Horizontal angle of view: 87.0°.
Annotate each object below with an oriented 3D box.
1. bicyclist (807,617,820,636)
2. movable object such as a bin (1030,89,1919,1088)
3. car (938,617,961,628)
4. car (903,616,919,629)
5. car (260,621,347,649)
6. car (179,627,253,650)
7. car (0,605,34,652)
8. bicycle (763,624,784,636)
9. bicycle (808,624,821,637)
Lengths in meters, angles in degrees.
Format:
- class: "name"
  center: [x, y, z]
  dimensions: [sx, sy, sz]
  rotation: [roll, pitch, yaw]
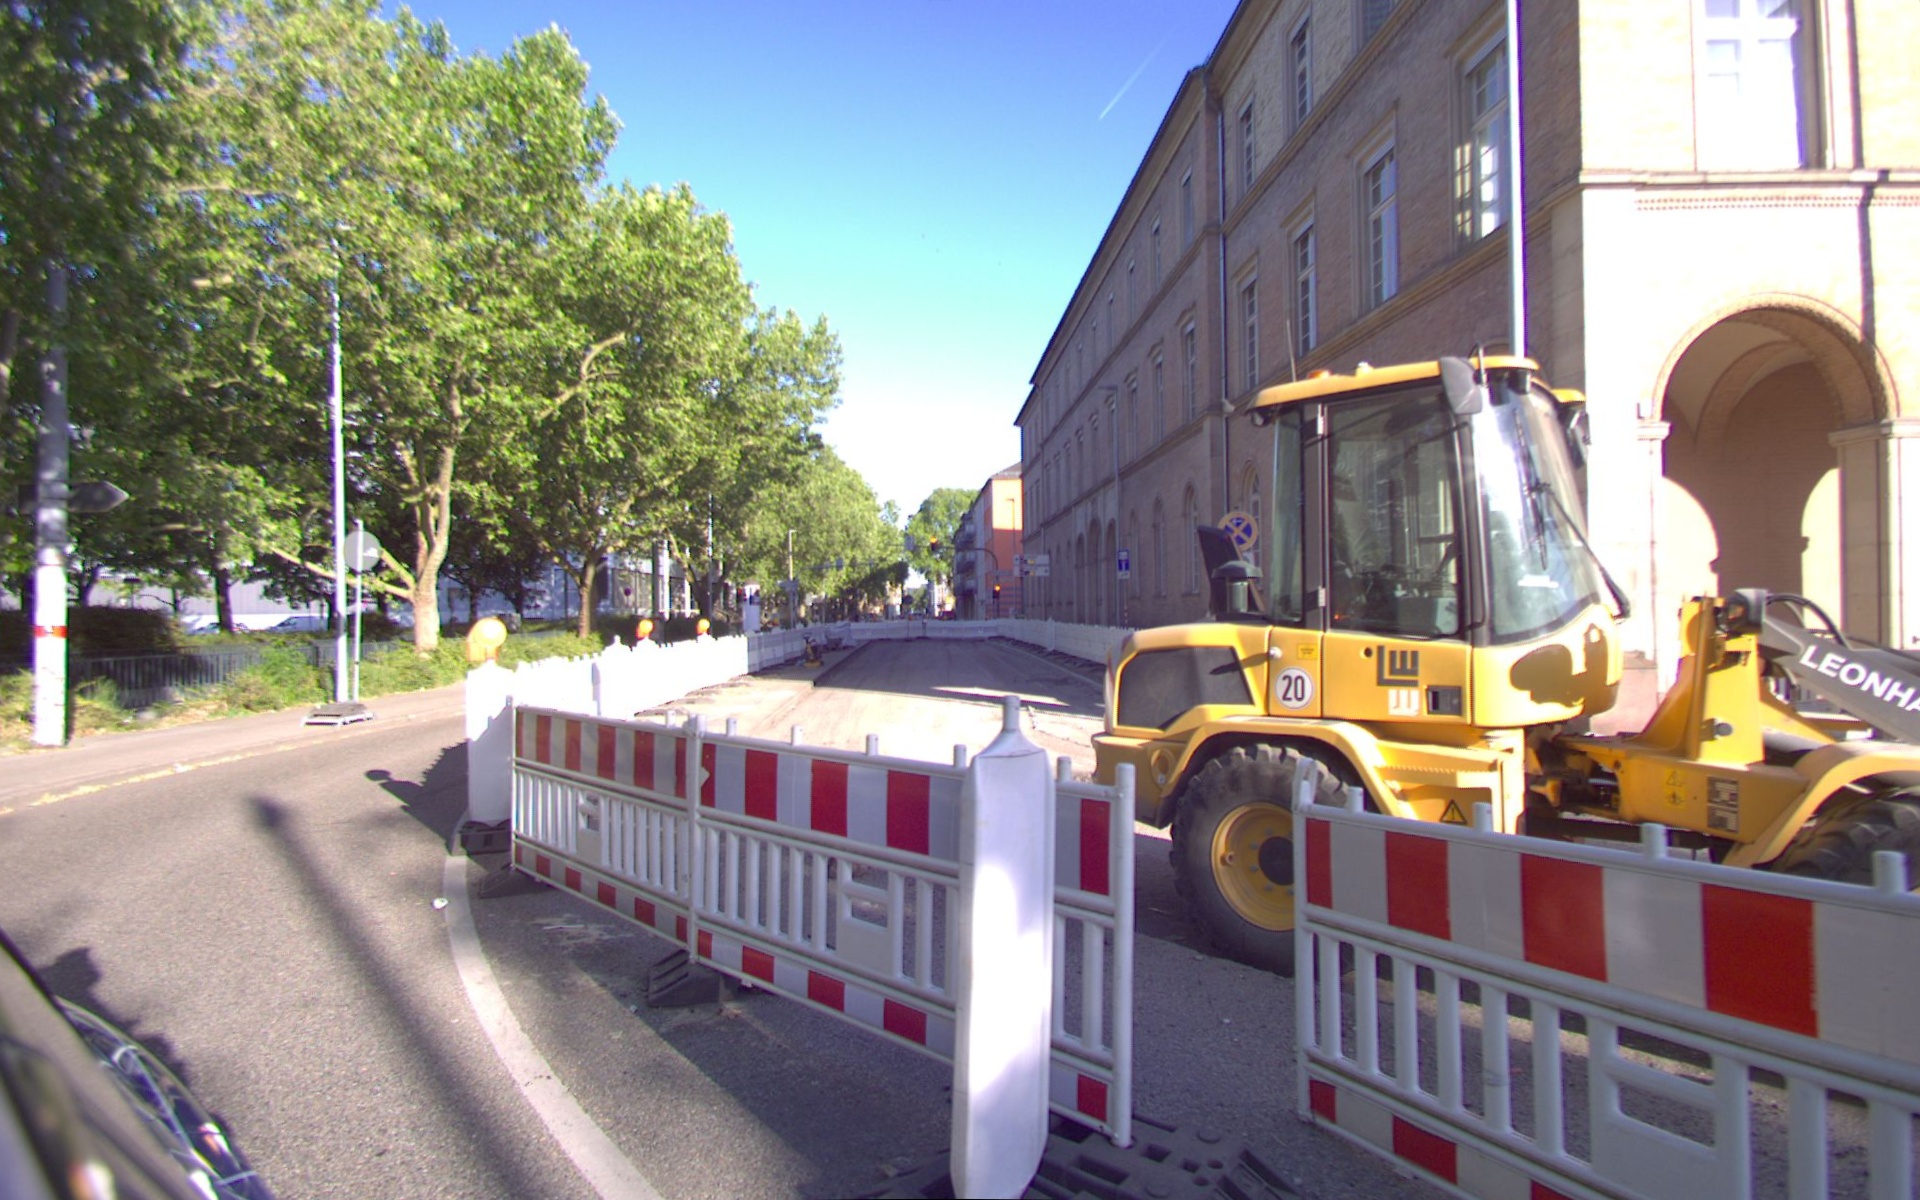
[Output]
- class: "bicyclist"
  center: [-12.713, 2.288, 87.827]
  dimensions: [0.938, 1.652, 1.006]
  rotation: [-2, -1, 5]
- class: "movable object such as a bin"
  center: [3.420, -0.021, 4.358]
  dimensions: [5.929, 3.054, 2.532]
  rotation: [-1, -2, 42]
- class: "car"
  center: [-1.816, 3.937, 176.149]
  dimensions: [3.943, 1.712, 1.834]
  rotation: [-1, -1, -1]
- class: "car"
  center: [-7.426, 3.422, 152.388]
  dimensions: [1.968, 1.830, 5.134]
  rotation: [0, 0, -8]
- class: "car"
  center: [-45.575, 2.384, 70.300]
  dimensions: [4.648, 1.842, 2.111]
  rotation: [-1, -1, -4]
- class: "car"
  center: [-51.160, 2.609, 69.622]
  dimensions: [3.792, 1.496, 1.632]
  rotation: [-1, -1, -4]
- class: "car"
  center: [-55.143, 1.623, 56.765]
  dimensions: [1.970, 2.592, 5.164]
  rotation: [-2, -1, -4]
- class: "bicycle"
  center: [-15.716, 2.528, 85.275]
  dimensions: [1.607, 1.006, 0.624]
  rotation: [1, 0, -28]
- class: "bicycle"
  center: [-12.656, 2.664, 87.812]
  dimensions: [0.695, 1.075, 1.925]
  rotation: [-1, -3, 5]
